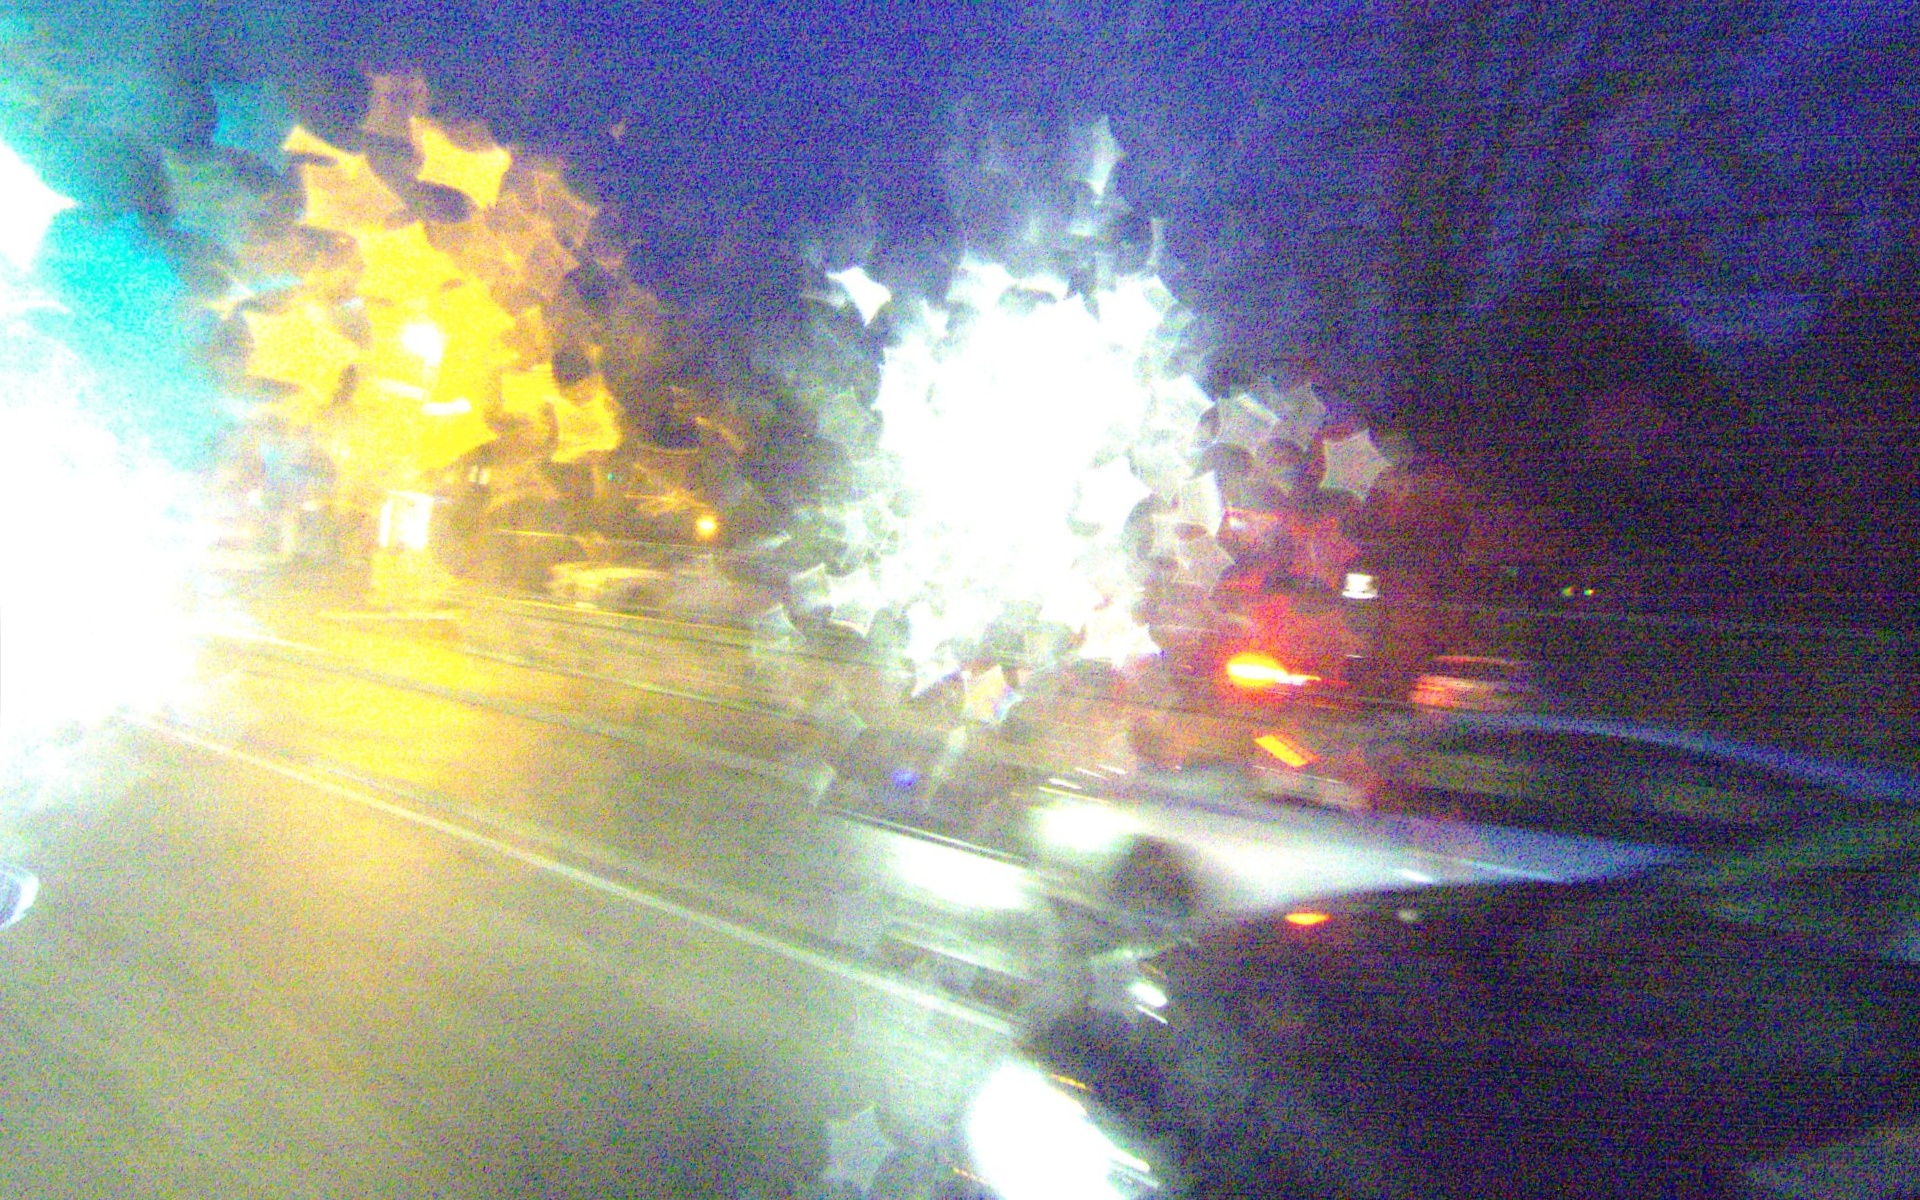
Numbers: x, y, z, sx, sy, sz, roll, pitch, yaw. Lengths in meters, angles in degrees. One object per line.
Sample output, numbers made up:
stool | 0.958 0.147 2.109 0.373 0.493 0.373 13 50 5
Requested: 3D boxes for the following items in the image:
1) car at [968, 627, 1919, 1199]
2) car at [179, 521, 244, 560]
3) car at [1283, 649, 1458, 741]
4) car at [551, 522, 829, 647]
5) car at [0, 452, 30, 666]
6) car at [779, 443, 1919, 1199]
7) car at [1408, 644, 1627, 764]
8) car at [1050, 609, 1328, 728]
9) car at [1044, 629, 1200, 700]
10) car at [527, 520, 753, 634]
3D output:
car | 2.343 1.146 4.611 4.167 1.459 1.787 7 0 31
car | -40.034 -3.182 53.783 4.012 1.688 1.772 6 -2 40
car | 7.760 1.802 18.895 3.482 1.306 1.458 10 -3 -39
car | -4.712 -0.219 17.694 4.295 1.476 1.839 9 -2 -29
car | -9.554 -0.464 7.925 4.266 1.886 1.857 6 -2 29
car | 2.298 0.972 0.948 4.858 1.755 1.839 6 -2 31
car | 9.303 1.752 16.671 3.919 1.504 1.746 10 -3 -39
car | 3.893 1.144 17.886 1.714 1.500 4.658 9 -3 -38
car | 4.211 1.676 25.823 3.972 1.299 1.642 10 -3 -39
car | -6.290 -0.404 19.824 3.846 1.592 1.821 9 -2 -29
